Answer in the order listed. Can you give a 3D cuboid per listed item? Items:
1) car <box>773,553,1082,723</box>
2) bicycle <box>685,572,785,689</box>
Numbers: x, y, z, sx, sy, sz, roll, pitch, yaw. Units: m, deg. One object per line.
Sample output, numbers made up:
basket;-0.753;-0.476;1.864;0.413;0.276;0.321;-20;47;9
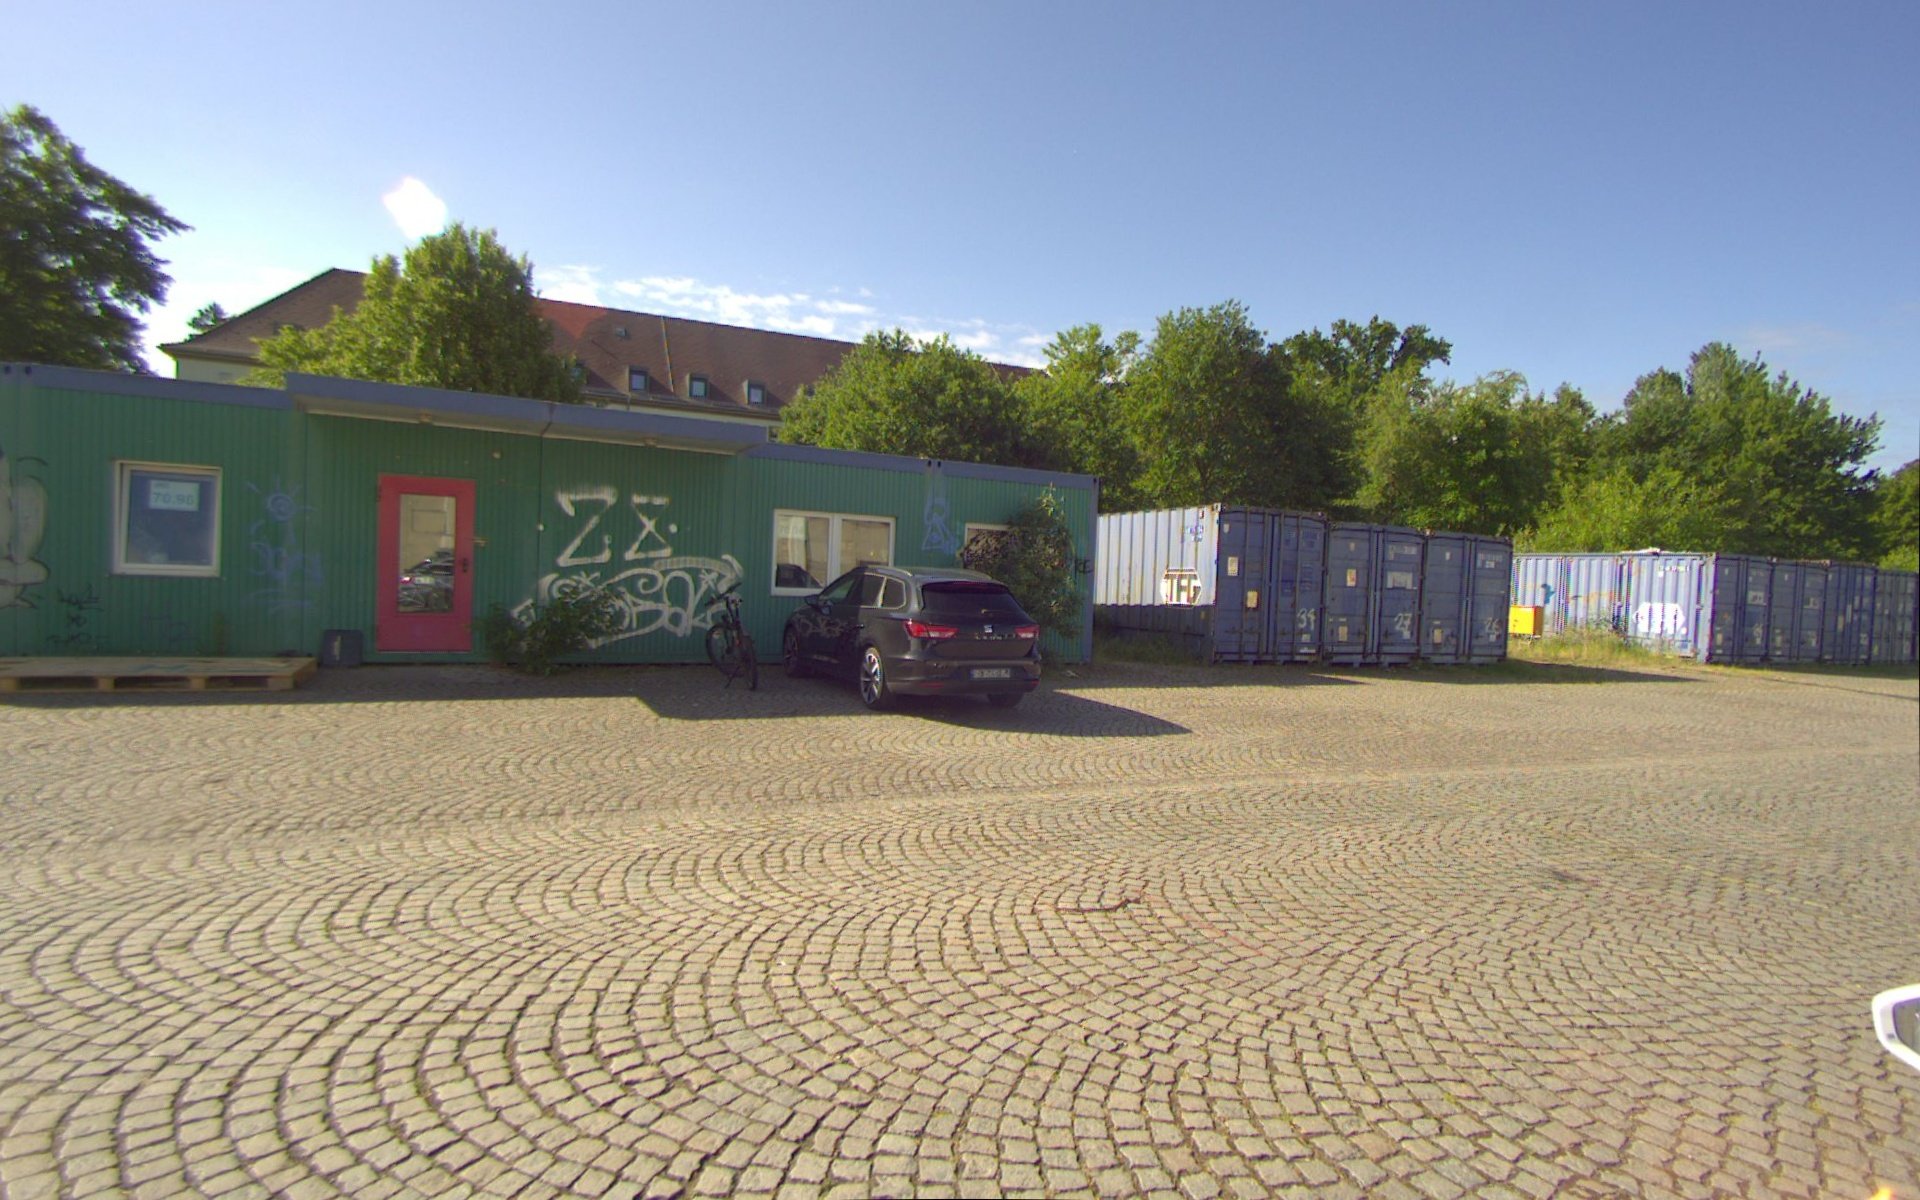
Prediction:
car;-0.598;0.290;11.420;1.906;1.469;4.236;2;2;-26
bicycle;-2.618;0.312;11.538;0.660;1.186;1.797;2;2;-26
